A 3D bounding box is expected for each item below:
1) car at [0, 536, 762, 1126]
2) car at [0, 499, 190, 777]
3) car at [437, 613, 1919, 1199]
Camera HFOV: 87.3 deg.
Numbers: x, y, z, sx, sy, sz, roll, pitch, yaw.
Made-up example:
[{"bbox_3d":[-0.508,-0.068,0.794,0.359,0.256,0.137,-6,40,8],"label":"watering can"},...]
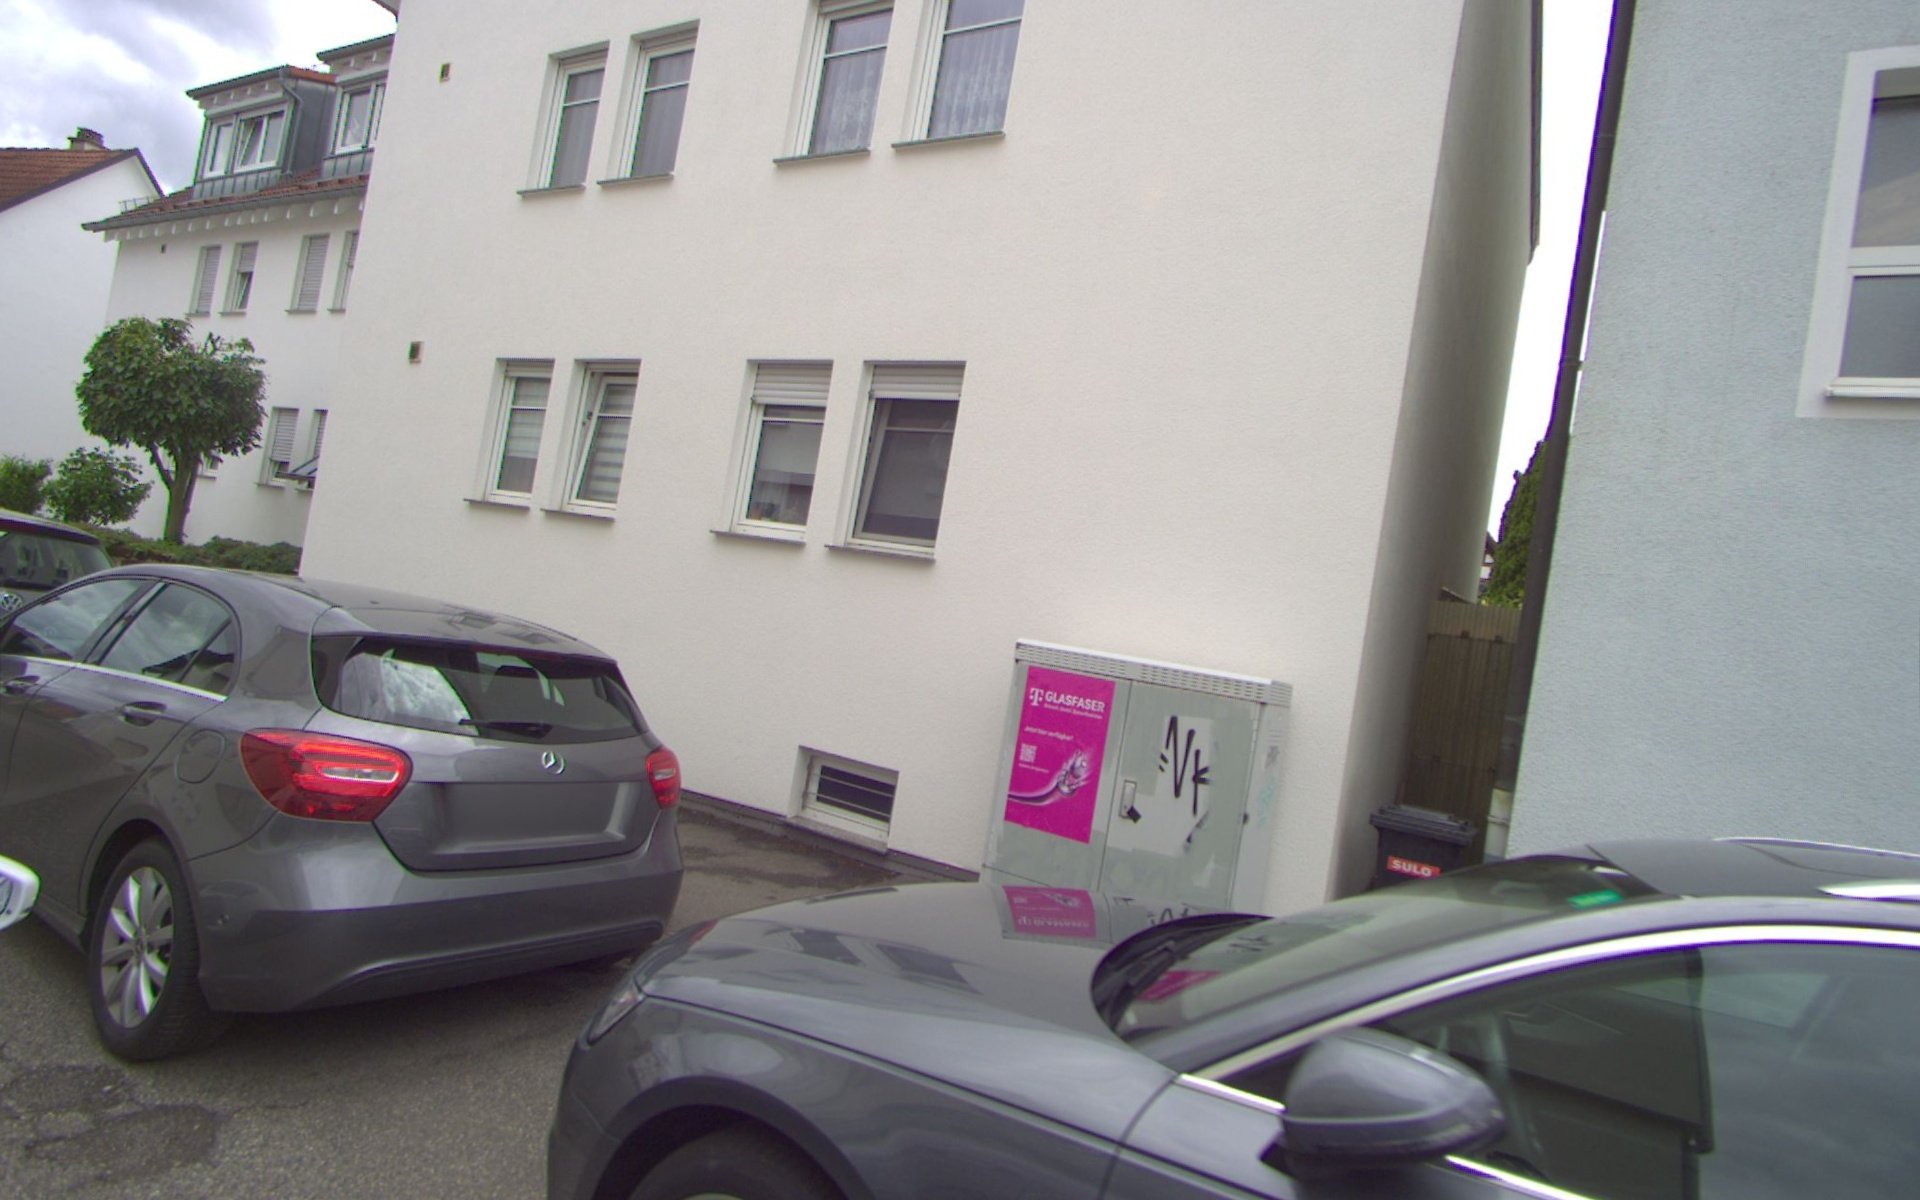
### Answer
[{"bbox_3d":[-3.038,0.562,4.310,4.007,1.366,1.802,6,-4,31],"label":"car"},{"bbox_3d":[-7.415,0.050,6.939,3.932,1.626,1.744,6,-6,30],"label":"car"},{"bbox_3d":[1.458,1.046,1.634,4.578,1.426,1.922,7,-2,31],"label":"car"}]
